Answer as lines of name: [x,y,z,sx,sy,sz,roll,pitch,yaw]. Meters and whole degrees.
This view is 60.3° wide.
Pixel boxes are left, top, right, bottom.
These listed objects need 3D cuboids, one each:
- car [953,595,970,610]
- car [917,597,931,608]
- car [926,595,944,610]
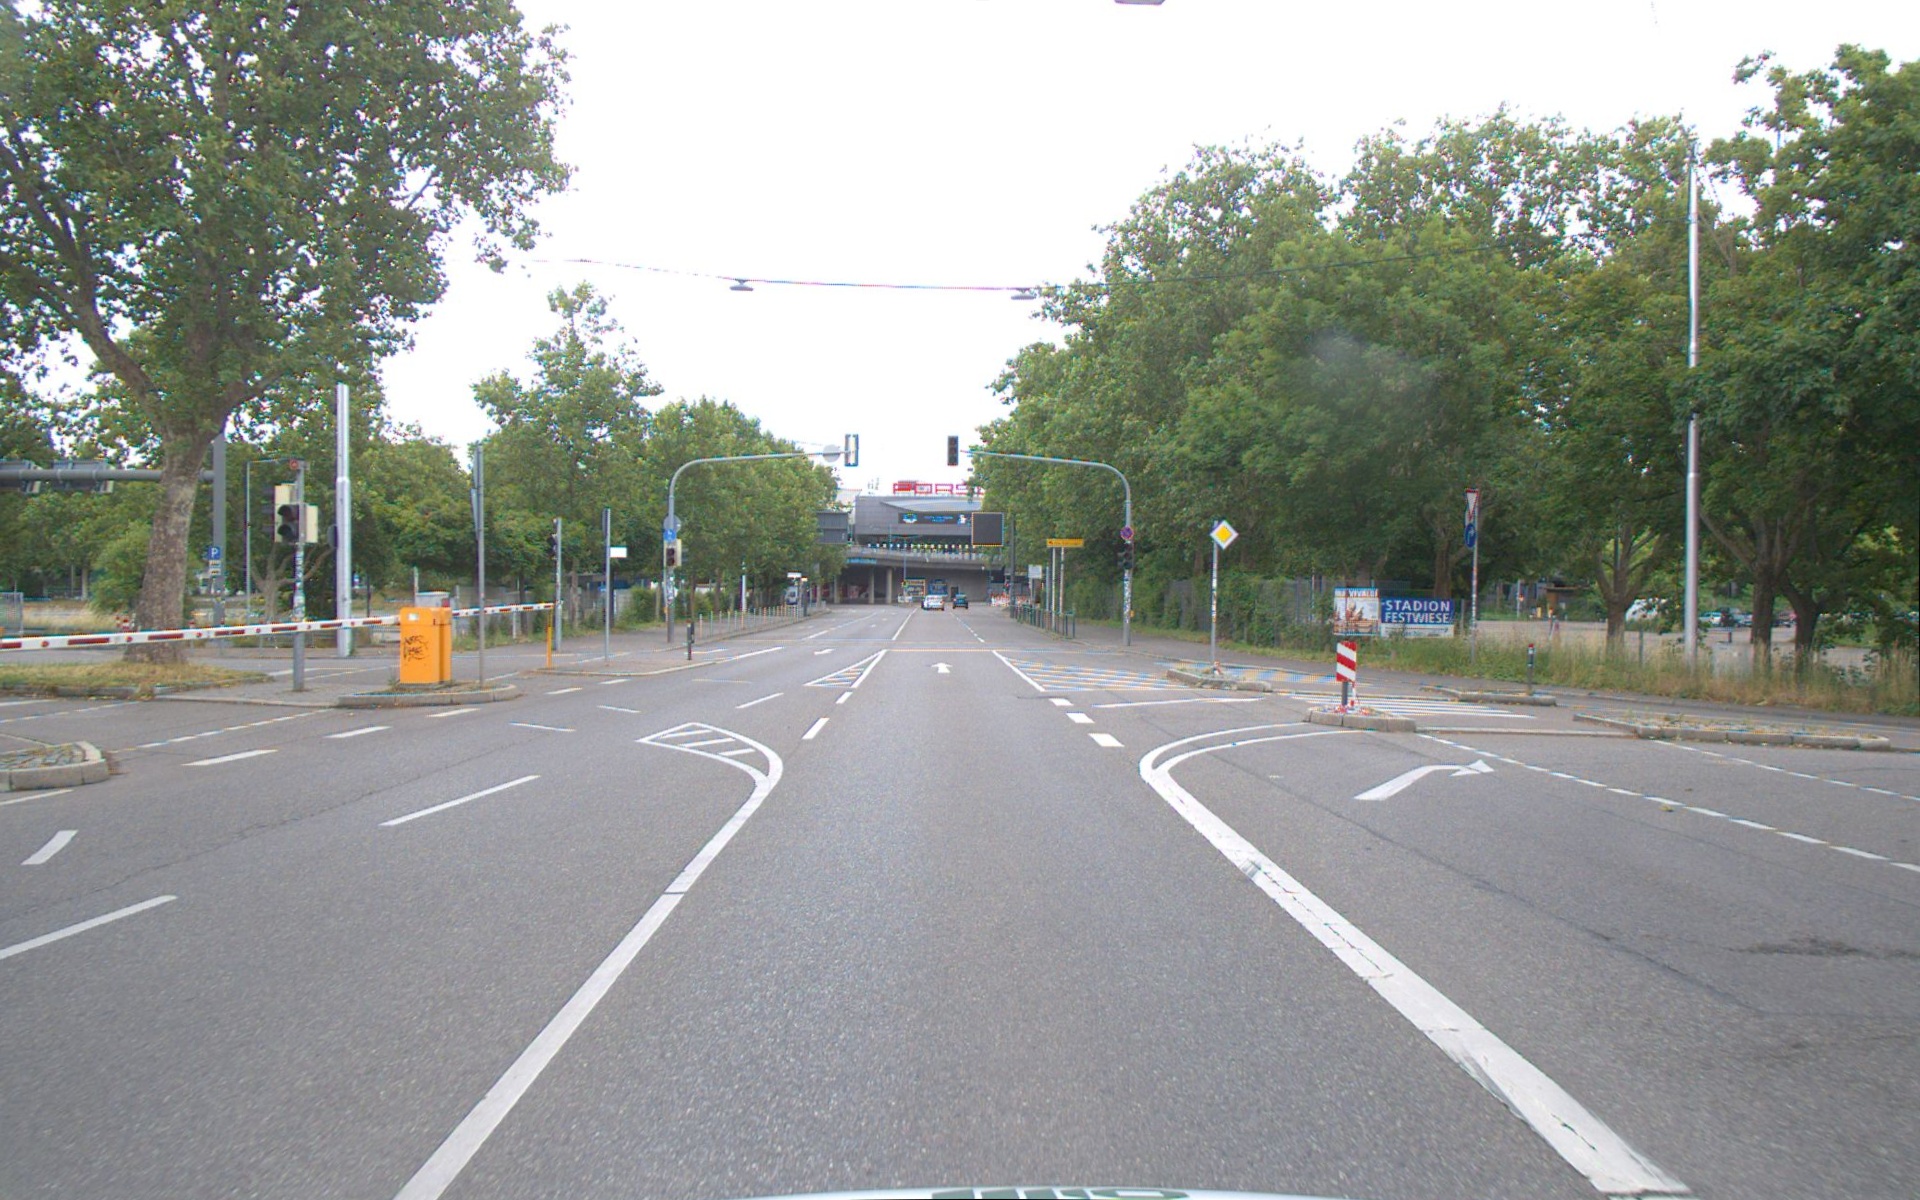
car: [0.166,0.290,197.769,1.966,1.728,4.069,1,0,0]
car: [-3.916,0.304,180.519,1.382,1.133,3.037,1,0,-1]
car: [-2.558,0.246,171.494,1.742,1.486,3.822,2,0,0]
